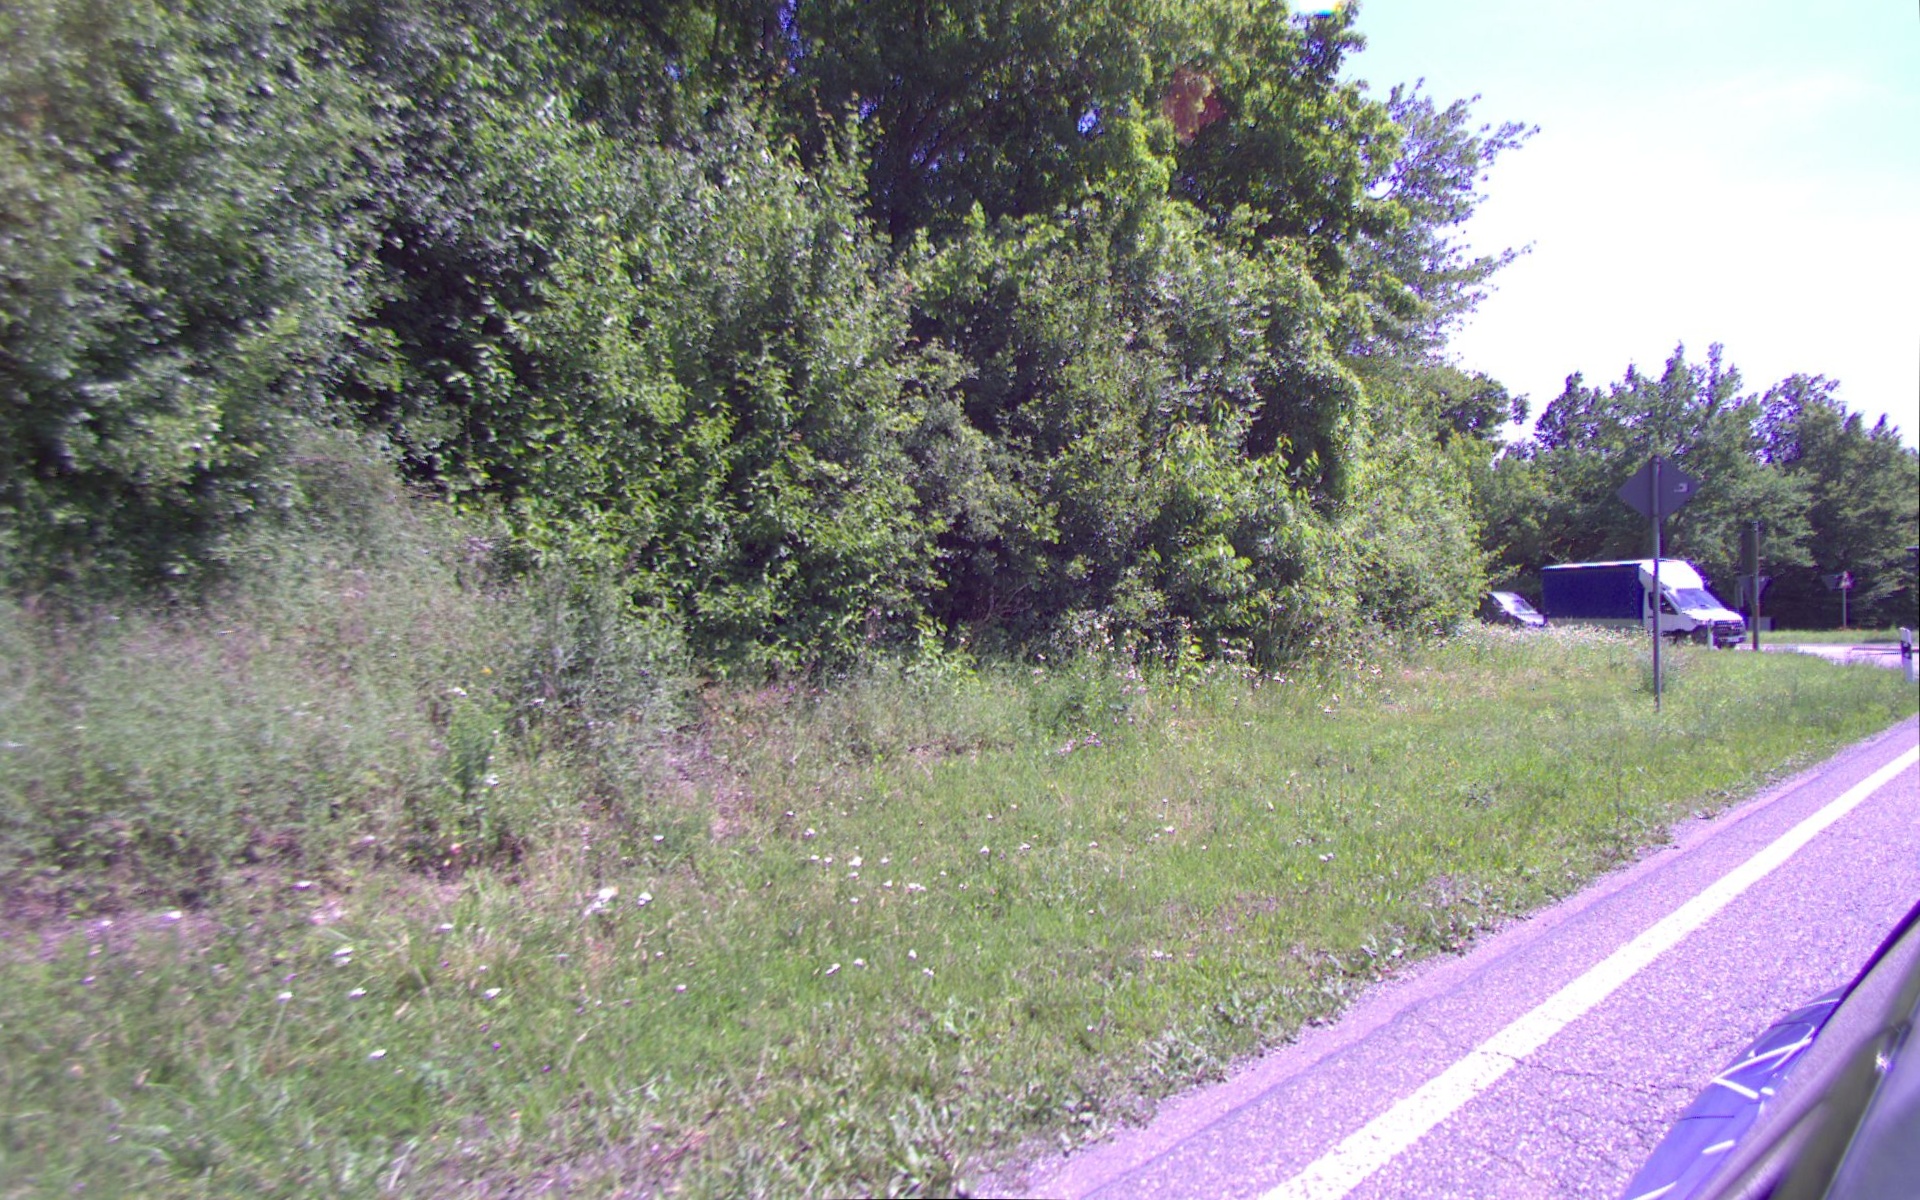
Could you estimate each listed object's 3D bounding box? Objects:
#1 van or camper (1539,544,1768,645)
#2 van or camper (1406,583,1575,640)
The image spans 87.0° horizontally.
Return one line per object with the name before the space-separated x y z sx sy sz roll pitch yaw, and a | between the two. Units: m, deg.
van or camper | 24.612 -0.156 36.445 2.060 3.253 7.266 -1 -1 -13
van or camper | 24.884 0.603 47.942 2.359 2.509 7.246 1 -2 -22
